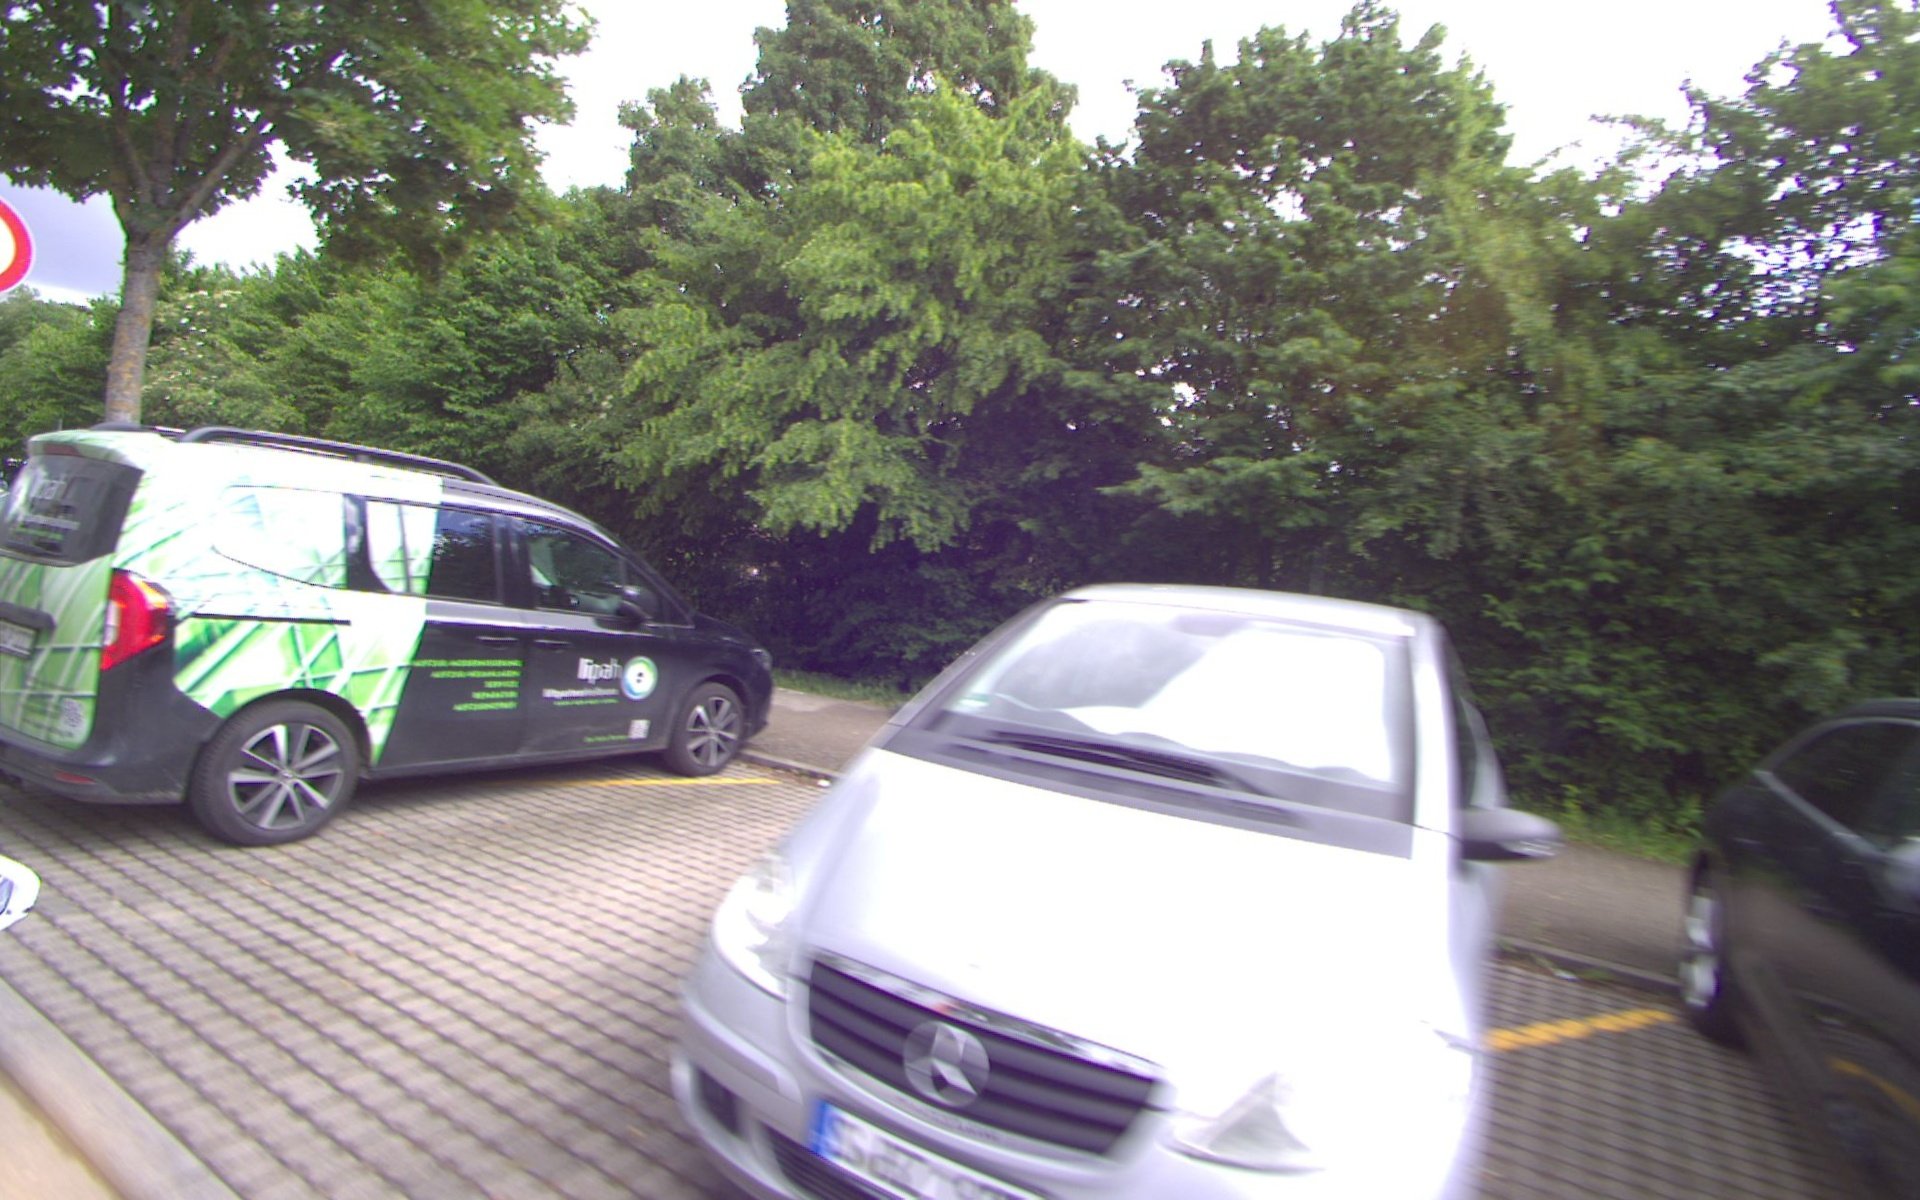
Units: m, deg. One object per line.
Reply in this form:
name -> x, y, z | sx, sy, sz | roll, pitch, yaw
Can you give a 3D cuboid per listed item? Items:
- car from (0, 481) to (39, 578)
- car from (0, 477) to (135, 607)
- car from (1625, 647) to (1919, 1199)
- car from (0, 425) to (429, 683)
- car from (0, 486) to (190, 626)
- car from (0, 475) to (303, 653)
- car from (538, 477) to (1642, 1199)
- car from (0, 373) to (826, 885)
car -> -17.883, -1.438, 15.952 | 1.884, 1.601, 4.387 | 7, -1, 30
car -> -13.959, -0.977, 13.178 | 1.884, 1.637, 4.387 | 7, -1, 30
car -> 3.246, 1.034, 2.390 | 2.074, 1.518, 4.731 | 7, 2, 27
car -> -7.526, -0.363, 9.041 | 1.903, 1.927, 4.387 | 7, -1, 30
car -> -11.941, -0.679, 11.602 | 1.884, 1.492, 4.387 | 7, -1, 30
car -> -9.608, -0.430, 10.263 | 1.884, 1.592, 4.387 | 6, -1, 30
car -> 1.023, 0.702, 3.643 | 1.884, 1.598, 4.382 | 7, 2, 30
car -> -2.988, 0.091, 6.145 | 1.884, 1.929, 4.382 | 7, 2, 30
